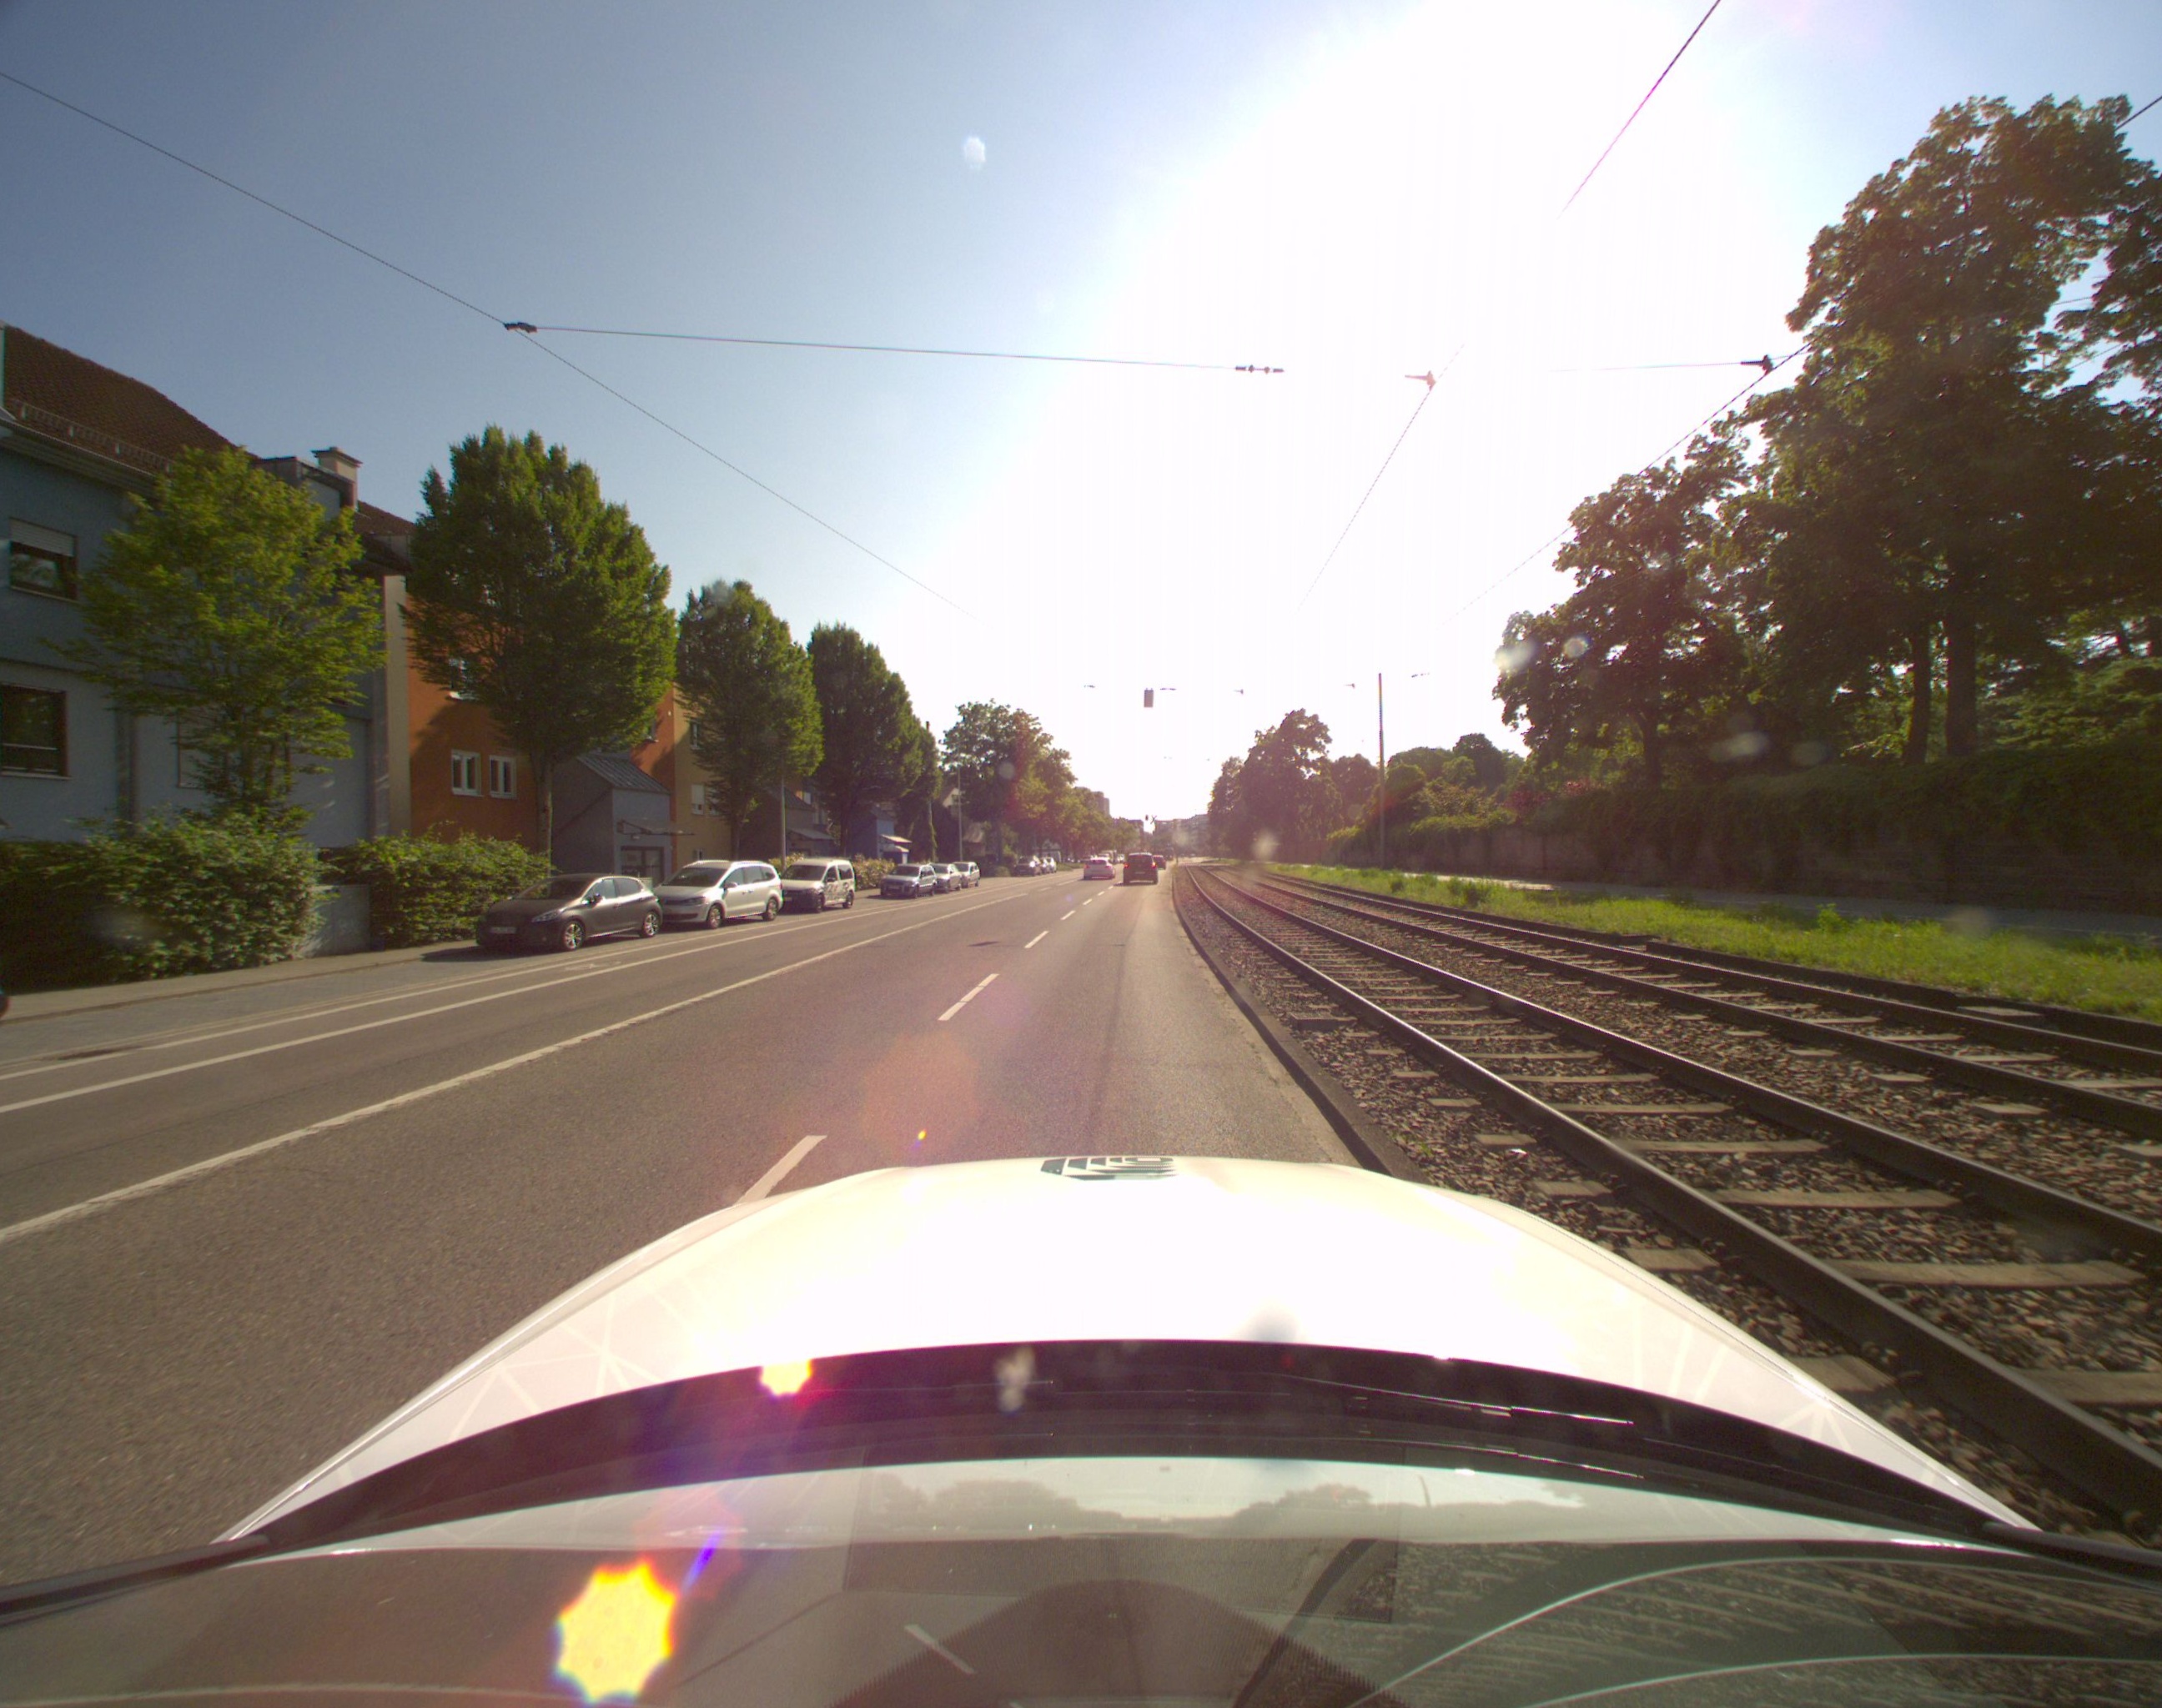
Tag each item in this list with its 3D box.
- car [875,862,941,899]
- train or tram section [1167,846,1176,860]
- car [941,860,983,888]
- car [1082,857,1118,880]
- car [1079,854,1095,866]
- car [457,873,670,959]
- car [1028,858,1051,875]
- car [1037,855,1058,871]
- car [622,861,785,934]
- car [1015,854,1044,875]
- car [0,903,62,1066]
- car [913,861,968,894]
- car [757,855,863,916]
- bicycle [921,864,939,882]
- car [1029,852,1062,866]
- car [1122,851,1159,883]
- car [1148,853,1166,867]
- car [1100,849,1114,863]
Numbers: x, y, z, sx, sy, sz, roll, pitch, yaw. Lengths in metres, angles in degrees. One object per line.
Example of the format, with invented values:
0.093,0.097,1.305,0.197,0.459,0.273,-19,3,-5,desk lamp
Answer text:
-8.107,1.200,38.494,1.753,1.539,3.989,3,0,7,car
25.315,-0.266,227.321,2.314,3.570,8.917,-2,0,7,train or tram section
-7.109,1.159,48.778,1.593,1.494,3.515,3,0,6,car
1.256,0.878,52.128,1.855,1.348,4.008,-1,0,7,car
0.921,0.841,118.578,1.722,1.658,4.009,-2,0,8,car
-10.531,1.180,16.978,1.608,1.466,4.063,0,0,4,car
-3.842,1.135,75.826,1.669,1.468,3.973,-1,0,5,car
-3.312,0.911,81.558,1.593,1.550,3.901,0,0,6,car
-9.897,1.059,21.861,1.660,1.701,4.833,0,0,6,car
-4.411,0.909,70.140,1.703,1.694,4.431,-1,0,7,car
-11.010,1.215,5.562,1.702,1.472,4.915,1,0,4,car
-7.440,1.220,43.552,1.741,1.510,4.761,3,0,4,car
-9.346,1.011,28.551,1.754,1.845,4.586,3,0,5,car
-9.724,1.209,52.596,0.440,1.154,1.791,-2,-1,13,bicycle
-6.147,0.873,142.526,5.347,2.423,2.091,-2,0,6,car
3.248,0.685,44.038,1.802,1.645,4.008,-1,0,7,car
7.849,0.614,83.650,1.802,1.449,4.007,0,0,6,car
4.759,0.315,148.251,1.853,2.347,4.996,-2,0,8,car
